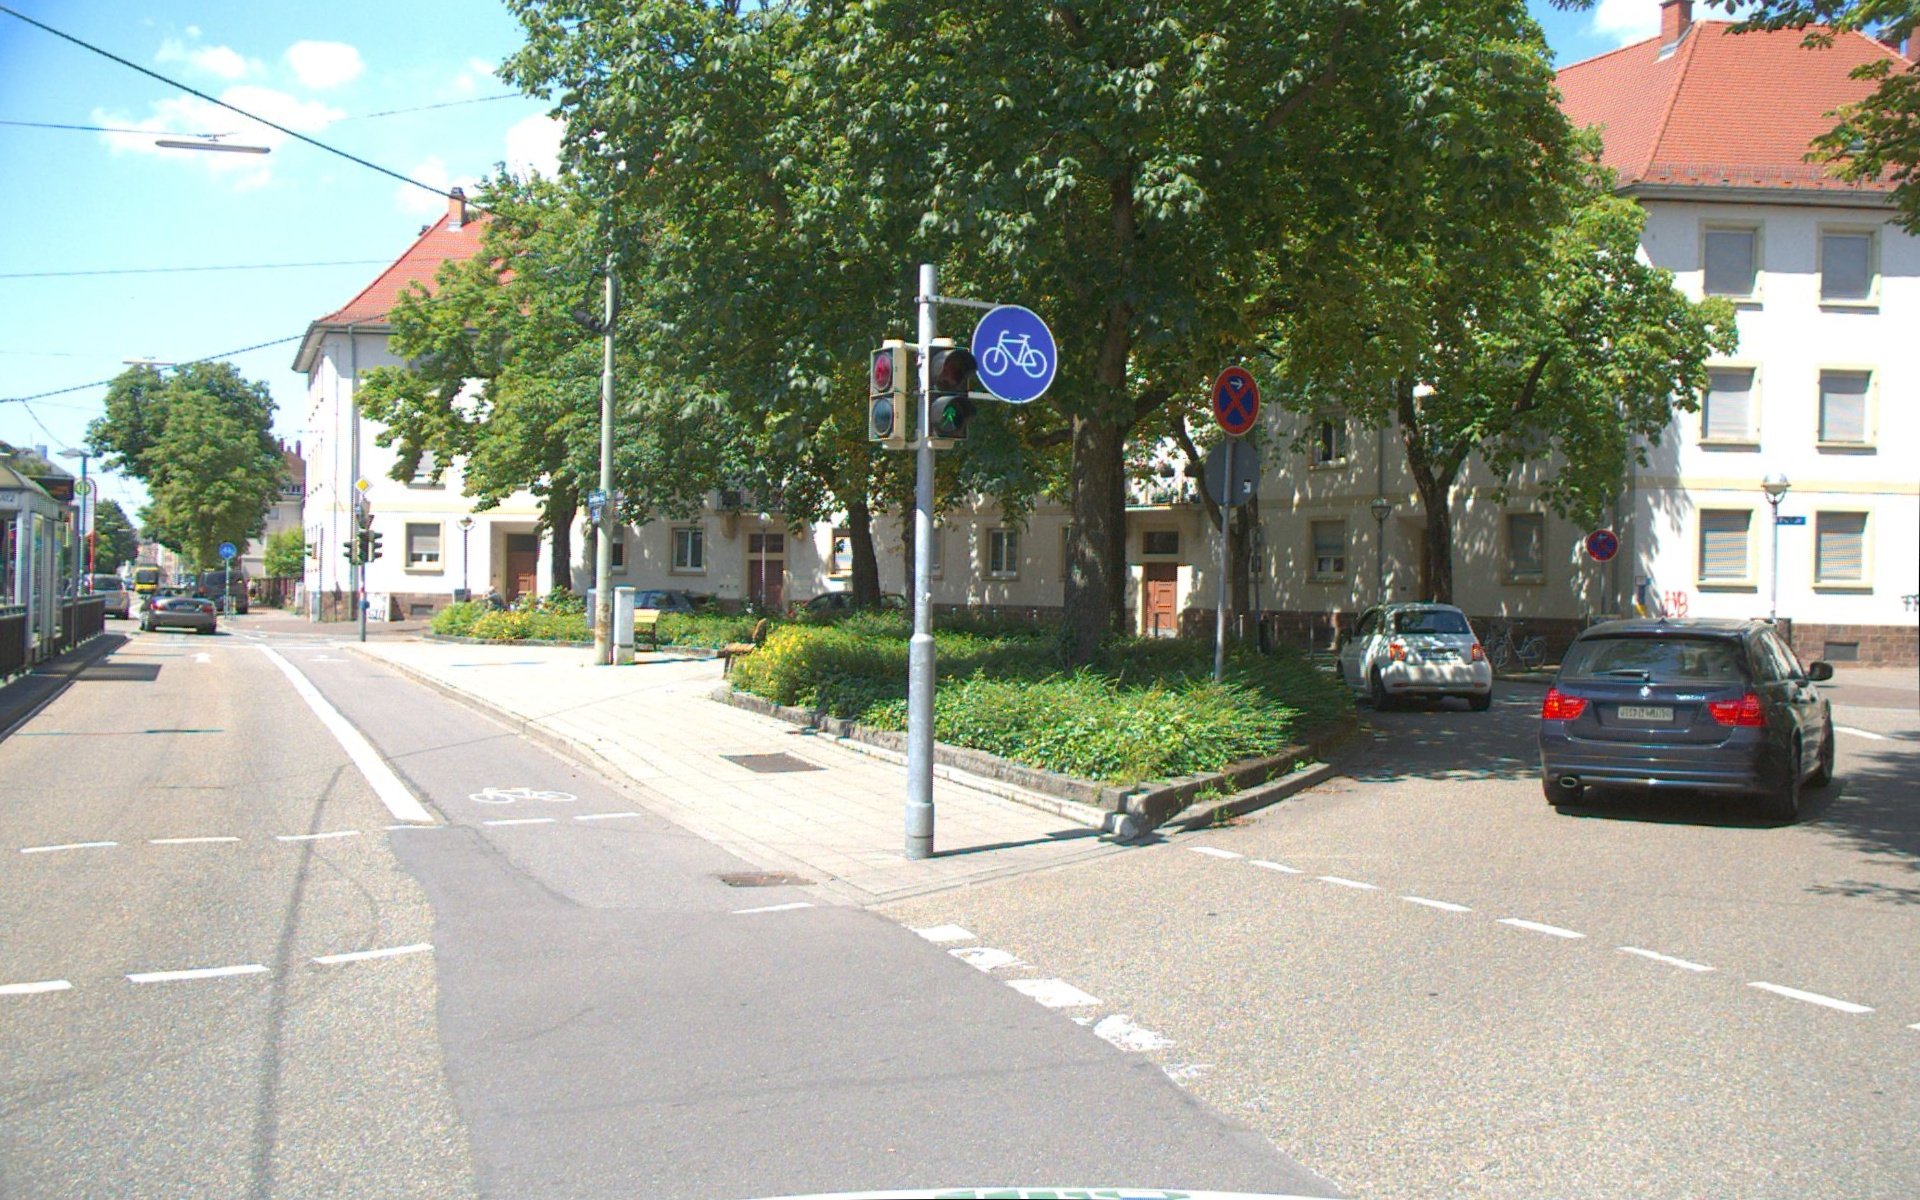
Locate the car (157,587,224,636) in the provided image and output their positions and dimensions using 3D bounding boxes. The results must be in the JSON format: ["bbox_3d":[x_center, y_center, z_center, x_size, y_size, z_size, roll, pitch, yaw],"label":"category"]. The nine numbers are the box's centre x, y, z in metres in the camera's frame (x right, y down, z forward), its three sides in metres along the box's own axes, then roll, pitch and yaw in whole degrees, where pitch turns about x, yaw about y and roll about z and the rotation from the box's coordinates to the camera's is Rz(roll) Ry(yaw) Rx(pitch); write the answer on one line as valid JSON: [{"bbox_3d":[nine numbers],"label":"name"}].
[{"bbox_3d":[-22.384,0.322,48.064,1.670,1.346,3.789,1,0,-26],"label":"car"}]

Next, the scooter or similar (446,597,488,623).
[{"bbox_3d":[-16.805,0.336,56.405,1.298,0.852,0.521,1,0,-31],"label":"scooter or similar"}]

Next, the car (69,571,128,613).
[{"bbox_3d":[-32.479,-0.305,62.321,1.675,1.540,3.779,1,0,-32],"label":"car"}]

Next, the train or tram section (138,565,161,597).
[{"bbox_3d":[-94.500,-2.223,192.809,2.162,3.543,8.775,1,0,-25],"label":"train or tram section"}]

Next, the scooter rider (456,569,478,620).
[{"bbox_3d":[-16.804,-0.188,56.400,0.584,1.716,0.523,1,0,-30],"label":"scooter rider"}]

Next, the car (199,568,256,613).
[{"bbox_3d":[-32.208,-0.416,72.665,1.971,1.881,3.963,1,0,-28],"label":"car"}]

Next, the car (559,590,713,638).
[{"bbox_3d":[-9.084,0.387,46.506,3.902,1.265,1.625,1,0,10],"label":"car"}]

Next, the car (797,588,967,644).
[{"bbox_3d":[-2.068,0.394,43.571,4.248,1.351,1.787,1,0,33],"label":"car"}]

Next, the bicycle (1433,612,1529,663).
[{"bbox_3d":[11.320,0.809,35.933,2.180,1.077,0.553,1,0,-24],"label":"bicycle"}]

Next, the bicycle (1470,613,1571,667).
[{"bbox_3d":[11.574,0.829,34.137,2.183,1.077,0.648,1,0,-28],"label":"bicycle"}]

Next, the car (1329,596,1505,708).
[{"bbox_3d":[6.692,0.712,24.580,1.650,1.510,3.685,1,0,1],"label":"car"}]

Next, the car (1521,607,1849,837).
[{"bbox_3d":[5.869,0.799,13.068,1.692,1.433,4.552,1,0,33],"label":"car"}]
